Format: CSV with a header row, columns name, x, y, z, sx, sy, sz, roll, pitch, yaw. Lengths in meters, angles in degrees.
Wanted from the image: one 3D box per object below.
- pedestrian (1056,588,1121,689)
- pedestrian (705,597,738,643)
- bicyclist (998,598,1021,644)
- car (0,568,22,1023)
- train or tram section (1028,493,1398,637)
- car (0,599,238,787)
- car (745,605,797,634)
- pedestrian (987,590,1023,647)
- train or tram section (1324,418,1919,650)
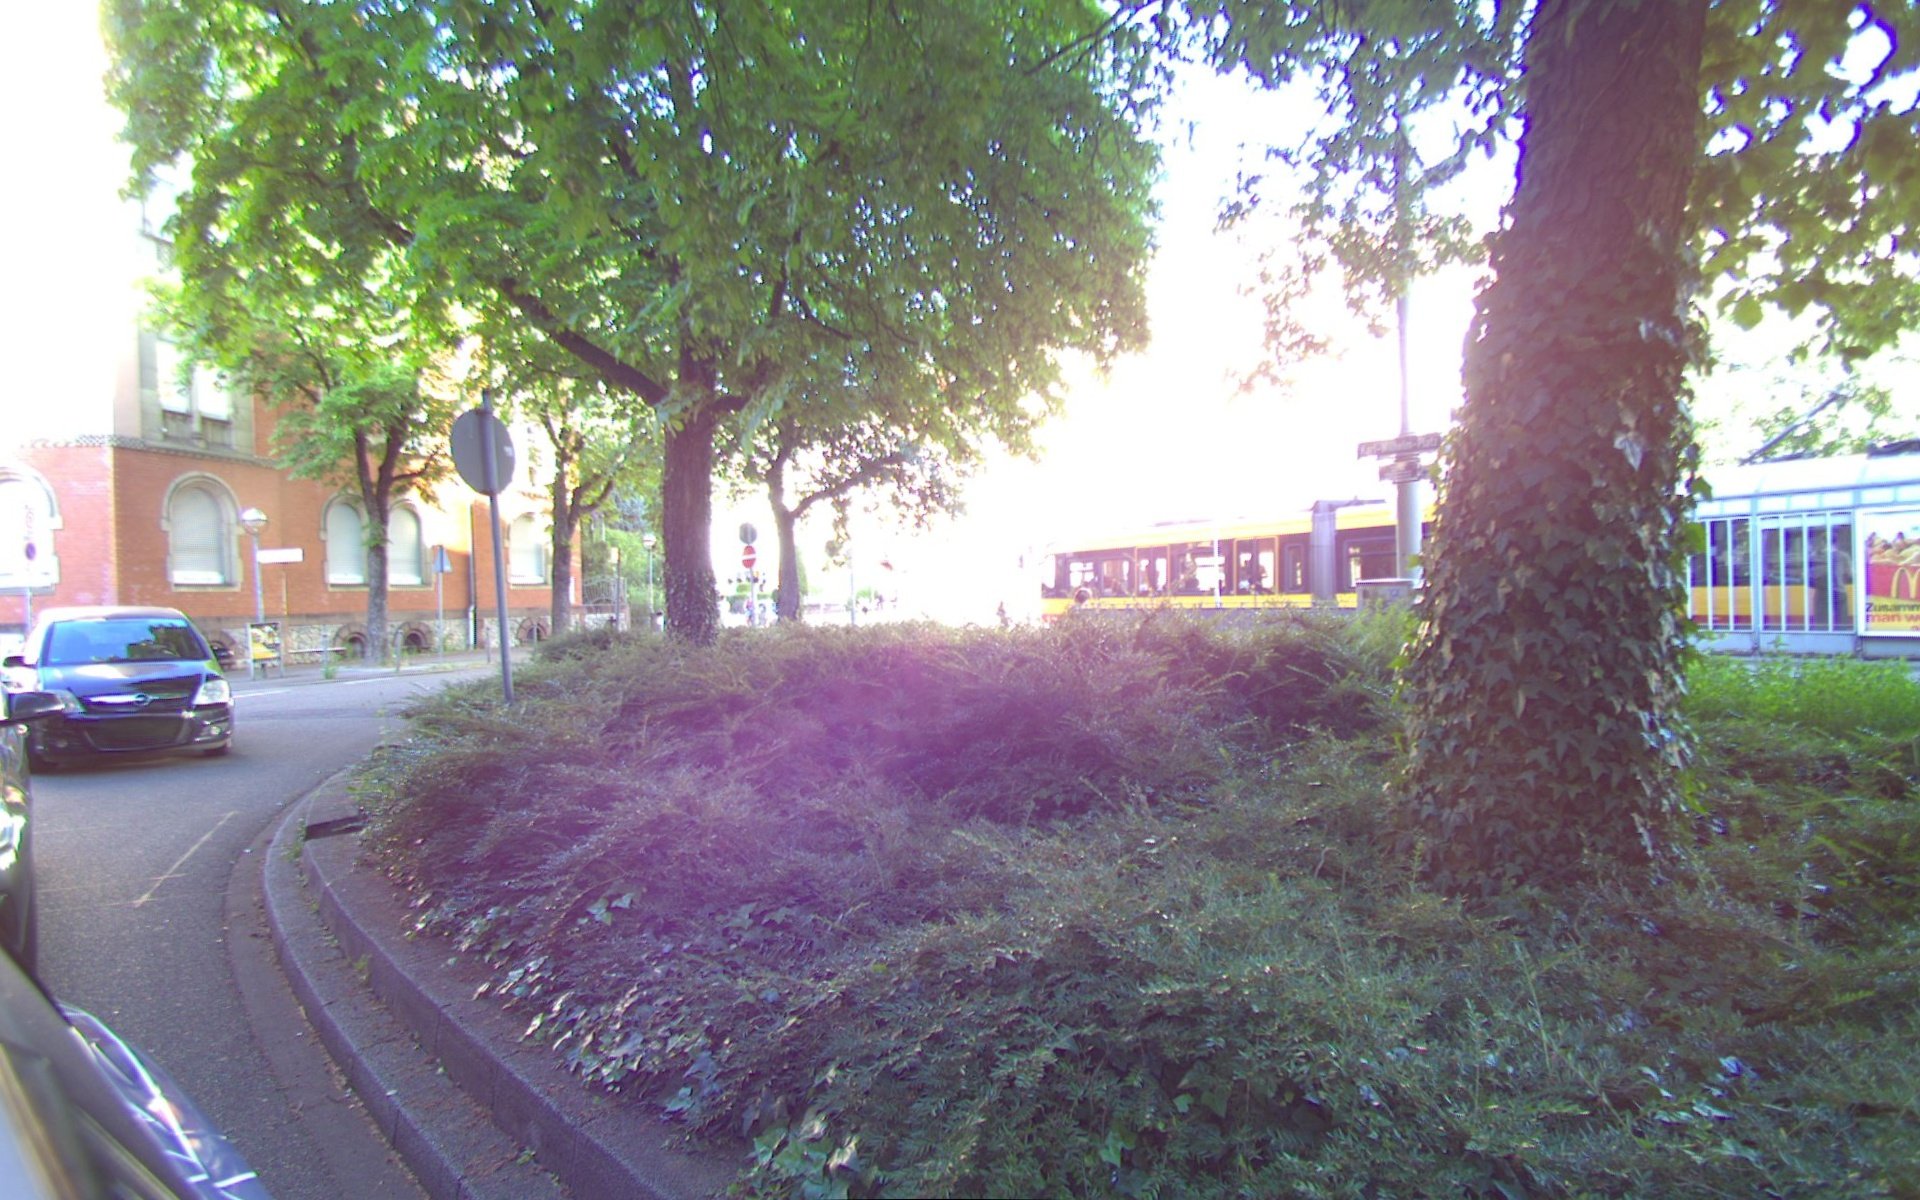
name,x,y,z,sx,sy,sz,roll,pitch,yaw
pedestrian,1.913,0.557,15.080,0.698,1.454,0.602,-2,0,-25
pedestrian,-9.053,0.757,38.406,0.722,1.647,0.897,-3,1,27
bicyclist,1.764,0.743,35.976,0.588,1.585,0.557,-2,0,-30
car,-5.423,0.733,4.518,1.768,1.590,4.264,-1,-1,-43
train or tram section,6.979,-0.839,31.346,2.727,3.584,12.718,-2,0,-32
car,-9.203,0.865,10.972,1.656,1.640,3.690,-2,0,-44
car,-10.020,1.008,53.484,1.707,1.428,4.013,-2,0,-25
pedestrian,1.395,0.564,31.129,0.722,1.647,0.897,-3,1,27
train or tram section,13.579,-1.000,20.668,2.739,3.614,12.456,-2,0,-32
